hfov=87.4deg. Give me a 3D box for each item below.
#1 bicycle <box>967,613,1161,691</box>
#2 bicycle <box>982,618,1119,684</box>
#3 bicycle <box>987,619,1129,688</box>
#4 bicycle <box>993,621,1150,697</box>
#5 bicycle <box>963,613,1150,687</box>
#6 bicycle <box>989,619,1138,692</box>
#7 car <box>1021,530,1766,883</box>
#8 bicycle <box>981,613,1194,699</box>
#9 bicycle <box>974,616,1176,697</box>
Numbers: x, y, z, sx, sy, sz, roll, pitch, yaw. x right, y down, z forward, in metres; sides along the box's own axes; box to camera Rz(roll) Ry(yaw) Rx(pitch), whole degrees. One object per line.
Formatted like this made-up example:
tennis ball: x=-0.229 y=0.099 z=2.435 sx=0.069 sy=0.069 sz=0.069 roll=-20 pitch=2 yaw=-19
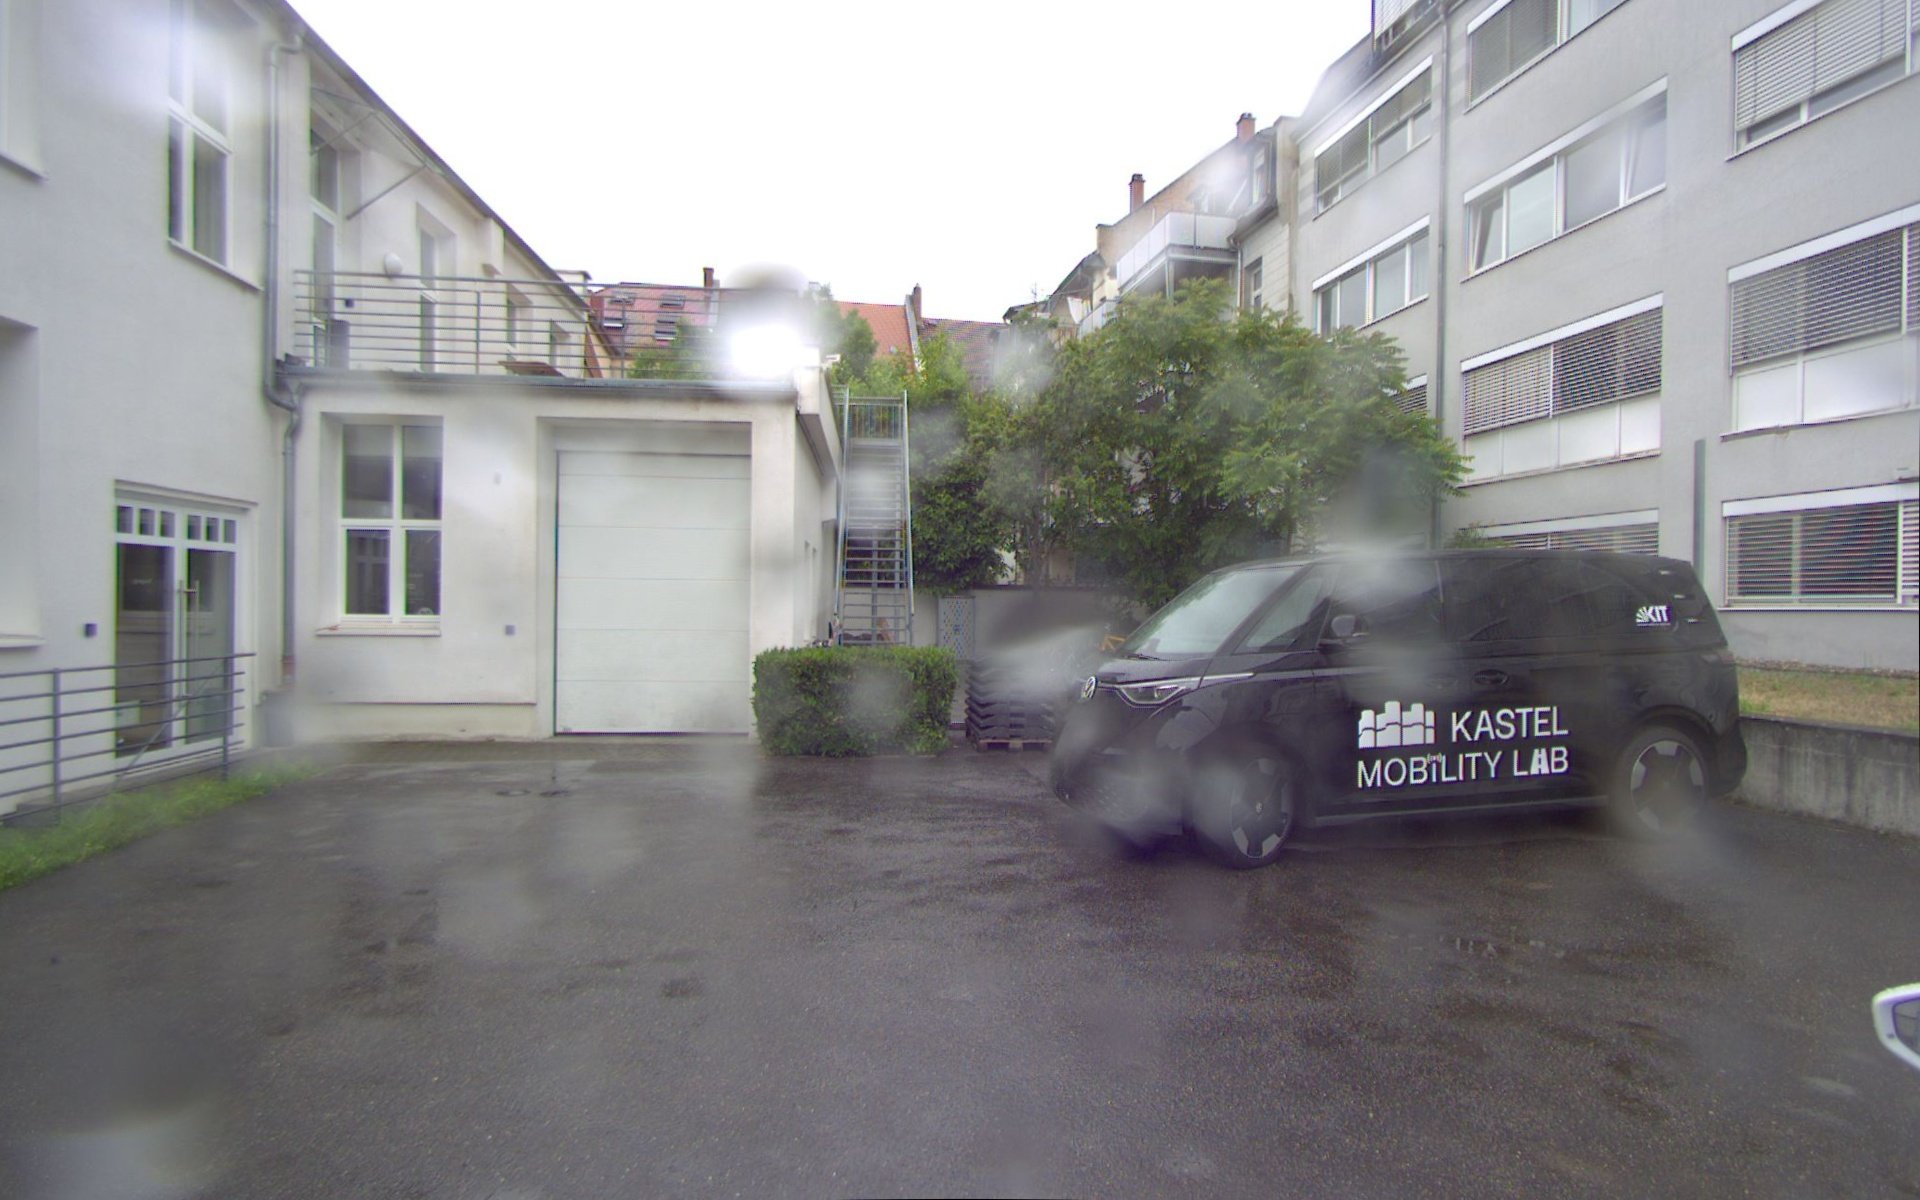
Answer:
bicycle: x=1.733 y=0.866 z=16.814 sx=3.165 sy=1.258 sz=0.630 roll=0 pitch=-1 yaw=-8
bicycle: x=1.561 y=0.881 z=17.493 sx=2.292 sy=1.119 sz=0.632 roll=1 pitch=1 yaw=-6
bicycle: x=1.626 y=0.886 z=16.837 sx=2.292 sy=1.119 sz=0.632 roll=1 pitch=1 yaw=-6
bicycle: x=1.693 y=0.894 z=15.337 sx=2.292 sy=1.119 sz=0.632 roll=1 pitch=1 yaw=-6
bicycle: x=1.670 y=0.861 z=17.462 sx=3.165 sy=1.258 sz=0.630 roll=0 pitch=-1 yaw=-8
bicycle: x=1.656 y=0.890 z=16.176 sx=2.292 sy=1.119 sz=0.632 roll=1 pitch=1 yaw=-6
car: x=2.839 y=0.614 z=6.997 sx=4.445 sy=1.922 sz=2.041 roll=0 pitch=-1 yaw=-13
bicycle: x=1.935 y=0.838 z=15.290 sx=3.165 sy=1.258 sz=0.630 roll=0 pitch=-1 yaw=-8
bicycle: x=1.844 y=0.889 z=16.154 sx=3.165 sy=1.258 sz=0.630 roll=0 pitch=-1 yaw=-8
